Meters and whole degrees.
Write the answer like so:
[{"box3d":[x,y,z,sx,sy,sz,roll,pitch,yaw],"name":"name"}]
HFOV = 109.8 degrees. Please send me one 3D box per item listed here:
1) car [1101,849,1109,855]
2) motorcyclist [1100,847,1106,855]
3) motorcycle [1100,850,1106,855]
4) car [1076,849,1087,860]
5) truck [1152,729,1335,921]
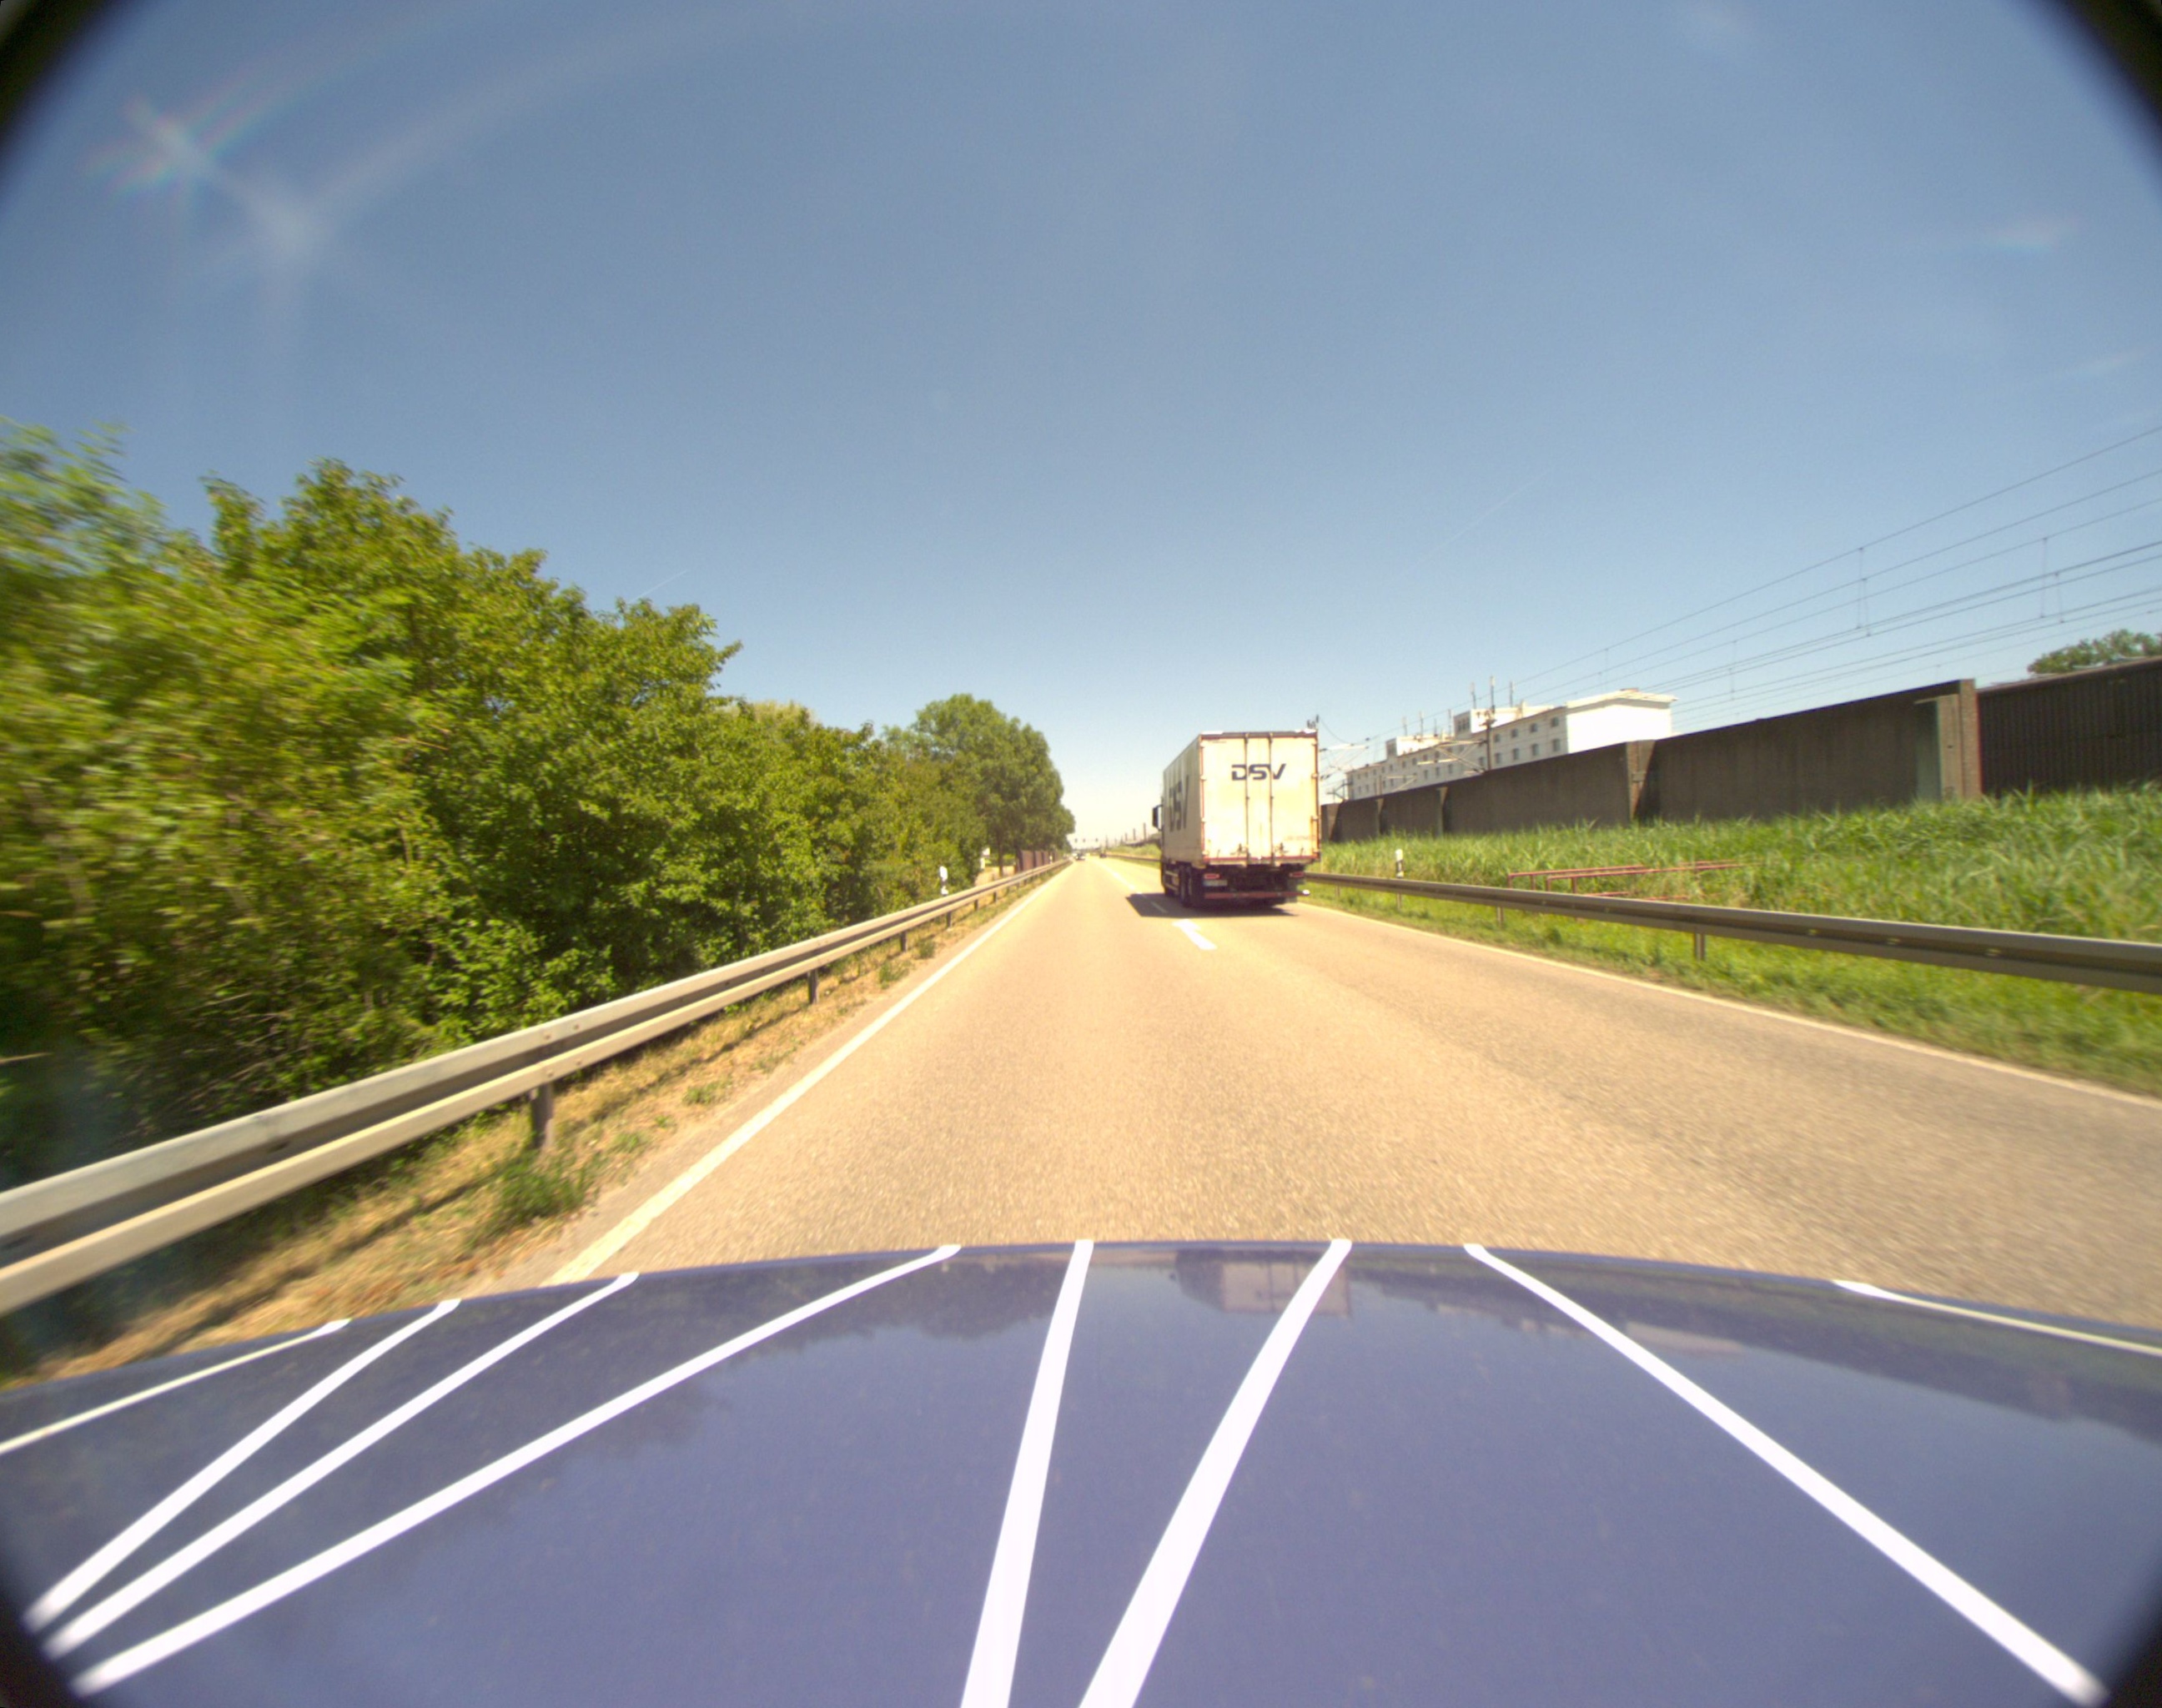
[{"box3d":[6.399,-0.497,200.998,1.999,1.499,3.999,-2,0,-1],"name":"car"},{"box3d":[5.221,-0.809,179.864,1.257,1.853,1.245,-2,1,0],"name":"motorcyclist"},{"box3d":[5.247,-0.423,179.835,1.240,1.066,3.129,-2,0,0],"name":"motorcycle"},{"box3d":[0.136,0.009,147.463,1.999,2.002,3.999,-2,0,-1],"name":"car"},{"box3d":[3.949,-0.658,21.428,2.804,3.955,10.498,-3,1,0],"name":"truck"}]
